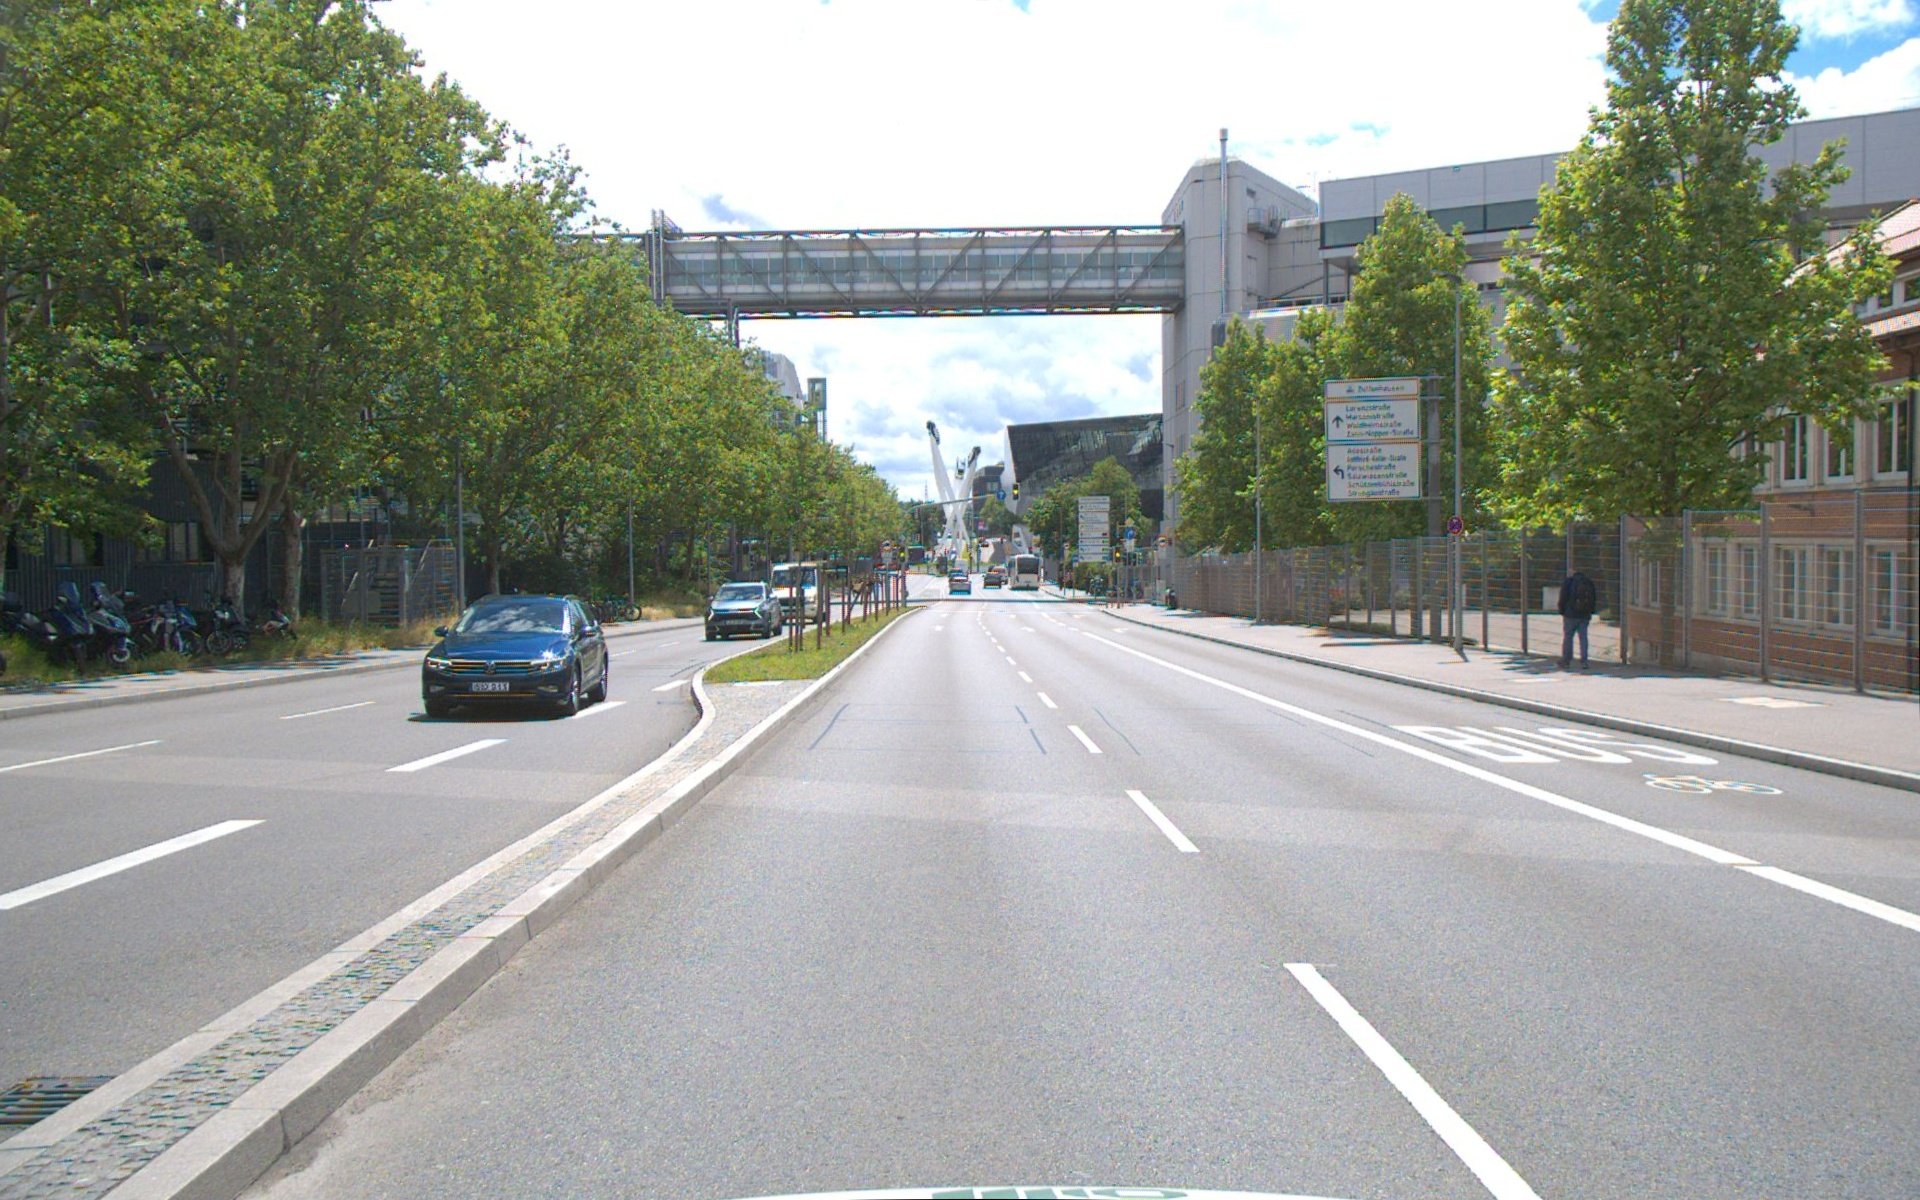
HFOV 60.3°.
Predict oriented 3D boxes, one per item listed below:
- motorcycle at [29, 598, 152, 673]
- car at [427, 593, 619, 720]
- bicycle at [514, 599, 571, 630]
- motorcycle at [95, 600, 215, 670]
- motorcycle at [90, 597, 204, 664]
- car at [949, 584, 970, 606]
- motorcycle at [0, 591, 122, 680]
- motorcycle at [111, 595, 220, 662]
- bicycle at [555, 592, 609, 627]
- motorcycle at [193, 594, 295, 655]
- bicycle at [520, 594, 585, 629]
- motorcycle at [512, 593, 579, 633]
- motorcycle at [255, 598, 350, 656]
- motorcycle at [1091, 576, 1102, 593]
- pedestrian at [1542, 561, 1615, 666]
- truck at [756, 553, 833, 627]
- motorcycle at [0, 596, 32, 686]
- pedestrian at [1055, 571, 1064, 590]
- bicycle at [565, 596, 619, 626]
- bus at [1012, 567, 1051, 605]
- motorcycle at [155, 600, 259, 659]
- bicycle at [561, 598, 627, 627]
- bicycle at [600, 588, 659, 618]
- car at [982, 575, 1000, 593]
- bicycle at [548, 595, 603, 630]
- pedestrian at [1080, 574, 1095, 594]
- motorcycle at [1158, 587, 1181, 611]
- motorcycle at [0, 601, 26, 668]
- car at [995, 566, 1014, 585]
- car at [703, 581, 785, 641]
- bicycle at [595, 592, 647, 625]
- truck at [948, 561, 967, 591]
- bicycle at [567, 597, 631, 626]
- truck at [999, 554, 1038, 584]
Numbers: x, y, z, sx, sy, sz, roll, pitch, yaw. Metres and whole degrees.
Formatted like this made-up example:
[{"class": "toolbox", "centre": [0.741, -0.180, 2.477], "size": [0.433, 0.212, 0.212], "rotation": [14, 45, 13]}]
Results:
[{"class": "motorcycle", "centre": [-15.273, 0.615, 29.061], "size": [1.838, 1.200, 0.815], "rotation": [2, 2, 15]}, {"class": "car", "centre": [-5.575, 0.647, 21.597], "size": [1.675, 1.479, 4.475], "rotation": [0, 0, -5]}, {"class": "bicycle", "centre": [-14.741, 0.501, 58.452], "size": [1.885, 1.093, 0.422], "rotation": [0, 0, -2]}, {"class": "motorcycle", "centre": [-14.896, 0.638, 30.636], "size": [1.838, 1.200, 0.816], "rotation": [2, 2, 9]}, {"class": "motorcycle", "centre": [-15.680, 0.588, 31.910], "size": [1.838, 1.200, 0.699], "rotation": [2, 2, 3]}, {"class": "car", "centre": [-0.053, -0.426, 140.525], "size": [1.702, 1.772, 3.692], "rotation": [0, 1, 1]}, {"class": "motorcycle", "centre": [-15.195, 0.579, 27.838], "size": [1.892, 1.367, 0.865], "rotation": [2, 2, 20]}, {"class": "motorcycle", "centre": [-15.741, 0.551, 32.772], "size": [1.838, 1.231, 0.655], "rotation": [2, 2, 3]}, {"class": "bicycle", "centre": [-14.375, 0.349, 62.896], "size": [1.879, 1.305, 0.806], "rotation": [0, 0, -2]}, {"class": "motorcycle", "centre": [-15.187, 0.508, 35.089], "size": [1.838, 1.207, 0.730], "rotation": [2, 1, 8]}, {"class": "bicycle", "centre": [-14.238, 0.386, 57.849], "size": [2.091, 1.201, 0.806], "rotation": [0, 0, -2]}, {"class": "motorcycle", "centre": [-14.266, 0.441, 56.941], "size": [2.091, 1.332, 0.806], "rotation": [0, 0, -2]}, {"class": "motorcycle", "centre": [-14.709, 0.603, 37.025], "size": [1.838, 1.193, 0.746], "rotation": [2, 2, 9]}, {"class": "motorcycle", "centre": [10.453, -1.172, 126.411], "size": [0.692, 1.224, 2.024], "rotation": [-2, 1, 1]}, {"class": "pedestrian", "centre": [10.816, 0.223, 28.950], "size": [0.859, 1.774, 0.940], "rotation": [-2, 0, -1]}, {"class": "truck", "centre": [-6.504, -0.400, 65.852], "size": [2.428, 2.799, 6.458], "rotation": [-1, 0, 0]}, {"class": "motorcycle", "centre": [-15.322, 0.599, 25.366], "size": [1.892, 1.313, 0.893], "rotation": [2, 2, 20]}, {"class": "pedestrian", "centre": [9.170, -1.810, 152.031], "size": [0.803, 1.737, 0.881], "rotation": [0, 0, 1]}, {"class": "bicycle", "centre": [-14.212, 0.419, 63.890], "size": [1.879, 1.142, 0.806], "rotation": [0, 0, -2]}, {"class": "bus", "centre": [7.079, -1.393, 164.477], "size": [3.382, 3.605, 10.606], "rotation": [0, 1, 0]}, {"class": "motorcycle", "centre": [-15.444, 0.588, 33.945], "size": [1.838, 1.103, 0.795], "rotation": [2, 2, 15]}, {"class": "bicycle", "centre": [-14.749, 0.497, 66.612], "size": [2.510, 1.115, 0.696], "rotation": [-1, 0, 10]}, {"class": "bicycle", "centre": [-13.853, 0.125, 69.344], "size": [2.354, 1.280, 0.556], "rotation": [0, 0, 1]}, {"class": "car", "centre": [3.118, -1.650, 166.929], "size": [1.702, 1.772, 3.692], "rotation": [0, 1, 1]}, {"class": "bicycle", "centre": [-14.338, 0.465, 61.677], "size": [1.879, 1.305, 0.806], "rotation": [0, 0, -2]}, {"class": "pedestrian", "centre": [10.454, -1.315, 135.837], "size": [0.835, 1.653, 0.951], "rotation": [1, 0, 42]}, {"class": "motorcycle", "centre": [10.464, -0.067, 82.601], "size": [0.679, 1.178, 2.146], "rotation": [-2, 1, -4]}, {"class": "motorcycle", "centre": [-18.553, 0.664, 31.191], "size": [0.639, 1.231, 1.984], "rotation": [2, 2, 4]}, {"class": "car", "centre": [5.240, -2.879, 193.992], "size": [1.953, 2.049, 3.999], "rotation": [1, -1, -1]}, {"class": "car", "centre": [-6.259, 0.286, 48.317], "size": [1.866, 1.659, 4.292], "rotation": [0, 0, 0]}, {"class": "bicycle", "centre": [-14.429, 0.342, 70.377], "size": [2.122, 1.387, 0.490], "rotation": [0, 0, 1]}, {"class": "truck", "centre": [-0.355, -3.178, 219.256], "size": [2.343, 3.965, 6.178], "rotation": [0, 0, 1]}, {"class": "bicycle", "centre": [-14.976, 0.484, 68.592], "size": [2.510, 1.178, 0.726], "rotation": [0, 0, 10]}, {"class": "truck", "centre": [9.028, -4.765, 253.111], "size": [3.380, 4.468, 9.424], "rotation": [0, 1, 18]}]
